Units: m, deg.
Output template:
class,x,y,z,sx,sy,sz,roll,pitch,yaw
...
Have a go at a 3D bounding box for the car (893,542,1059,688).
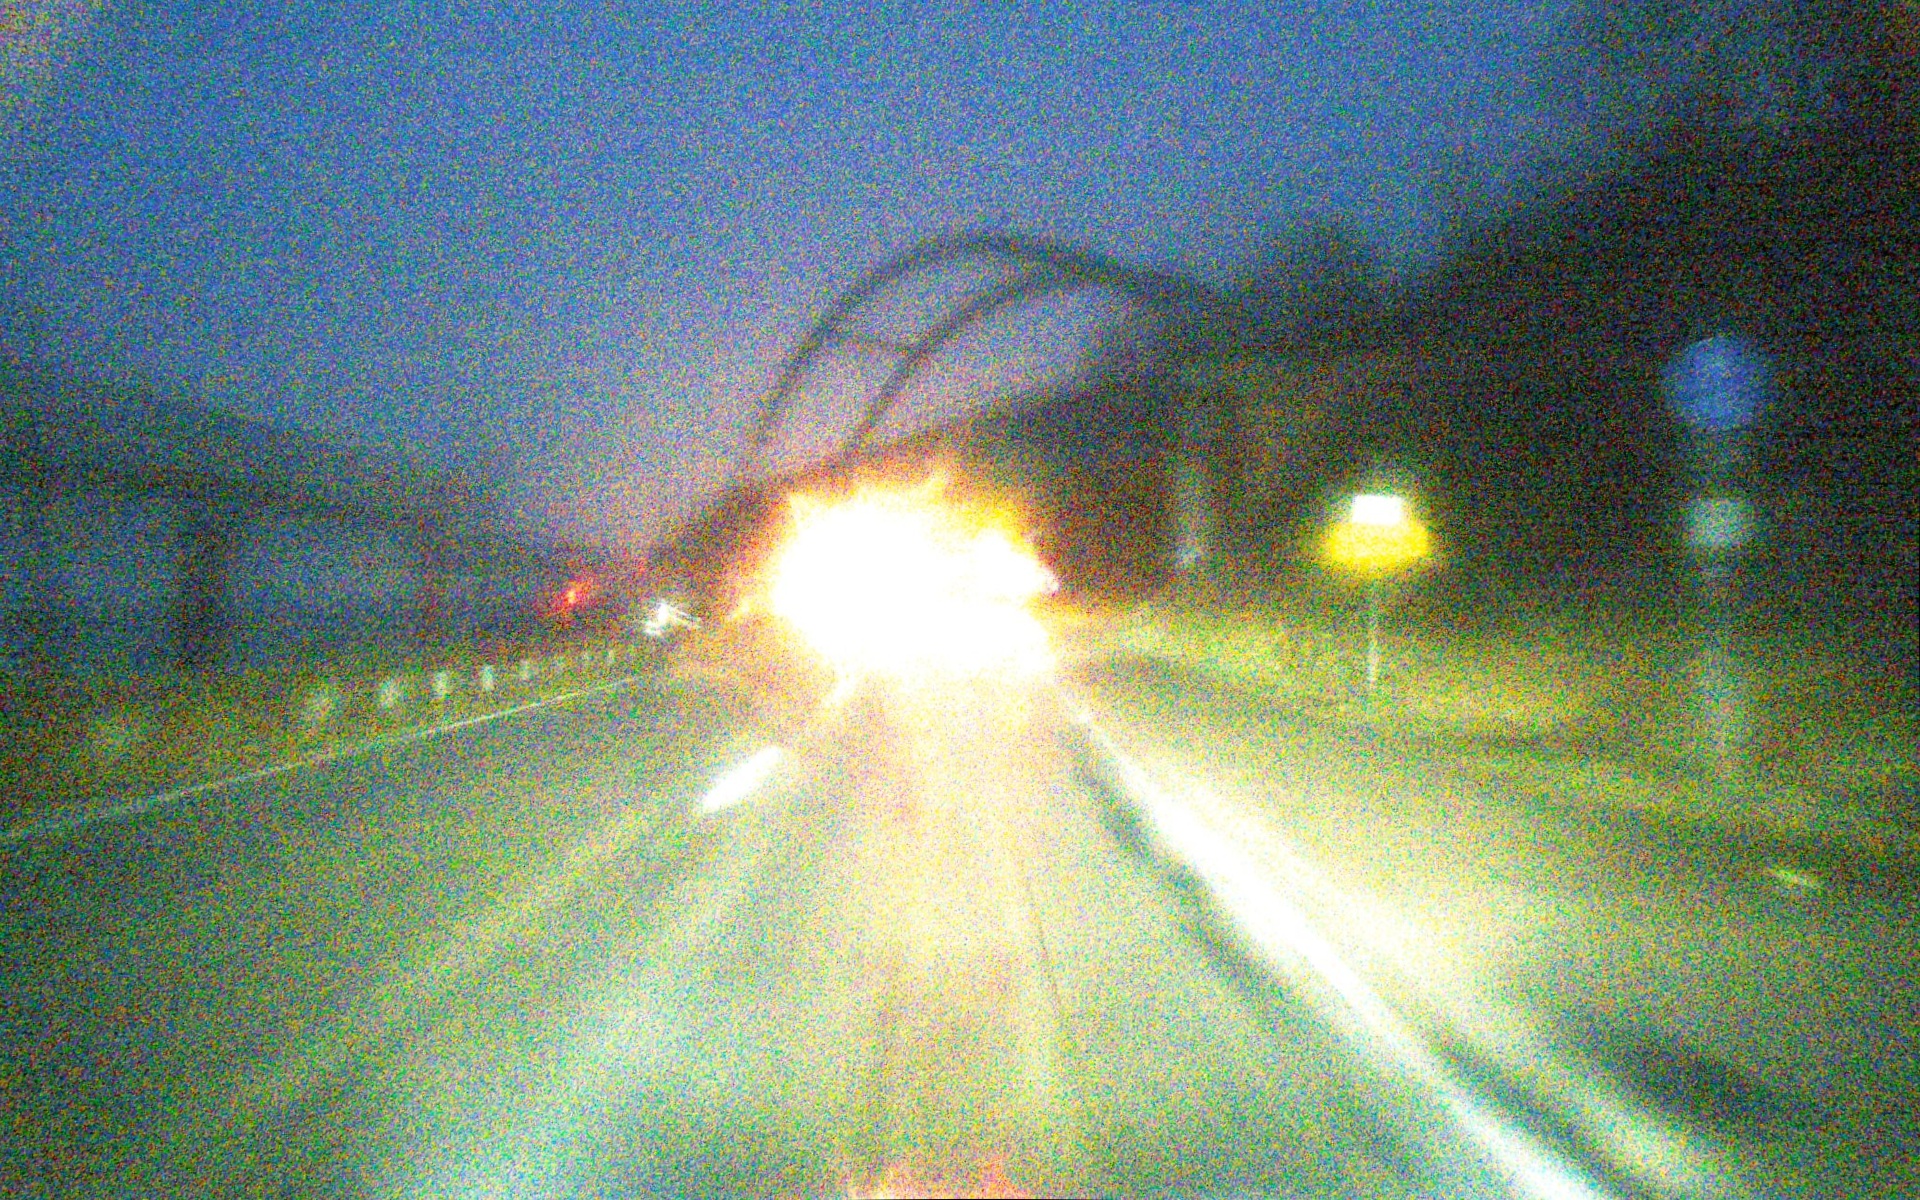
class,x,y,z,sx,sy,sz,roll,pitch,yaw
car,0.205,0.218,29.697,2.660,2.348,6.099,0,0,-1
